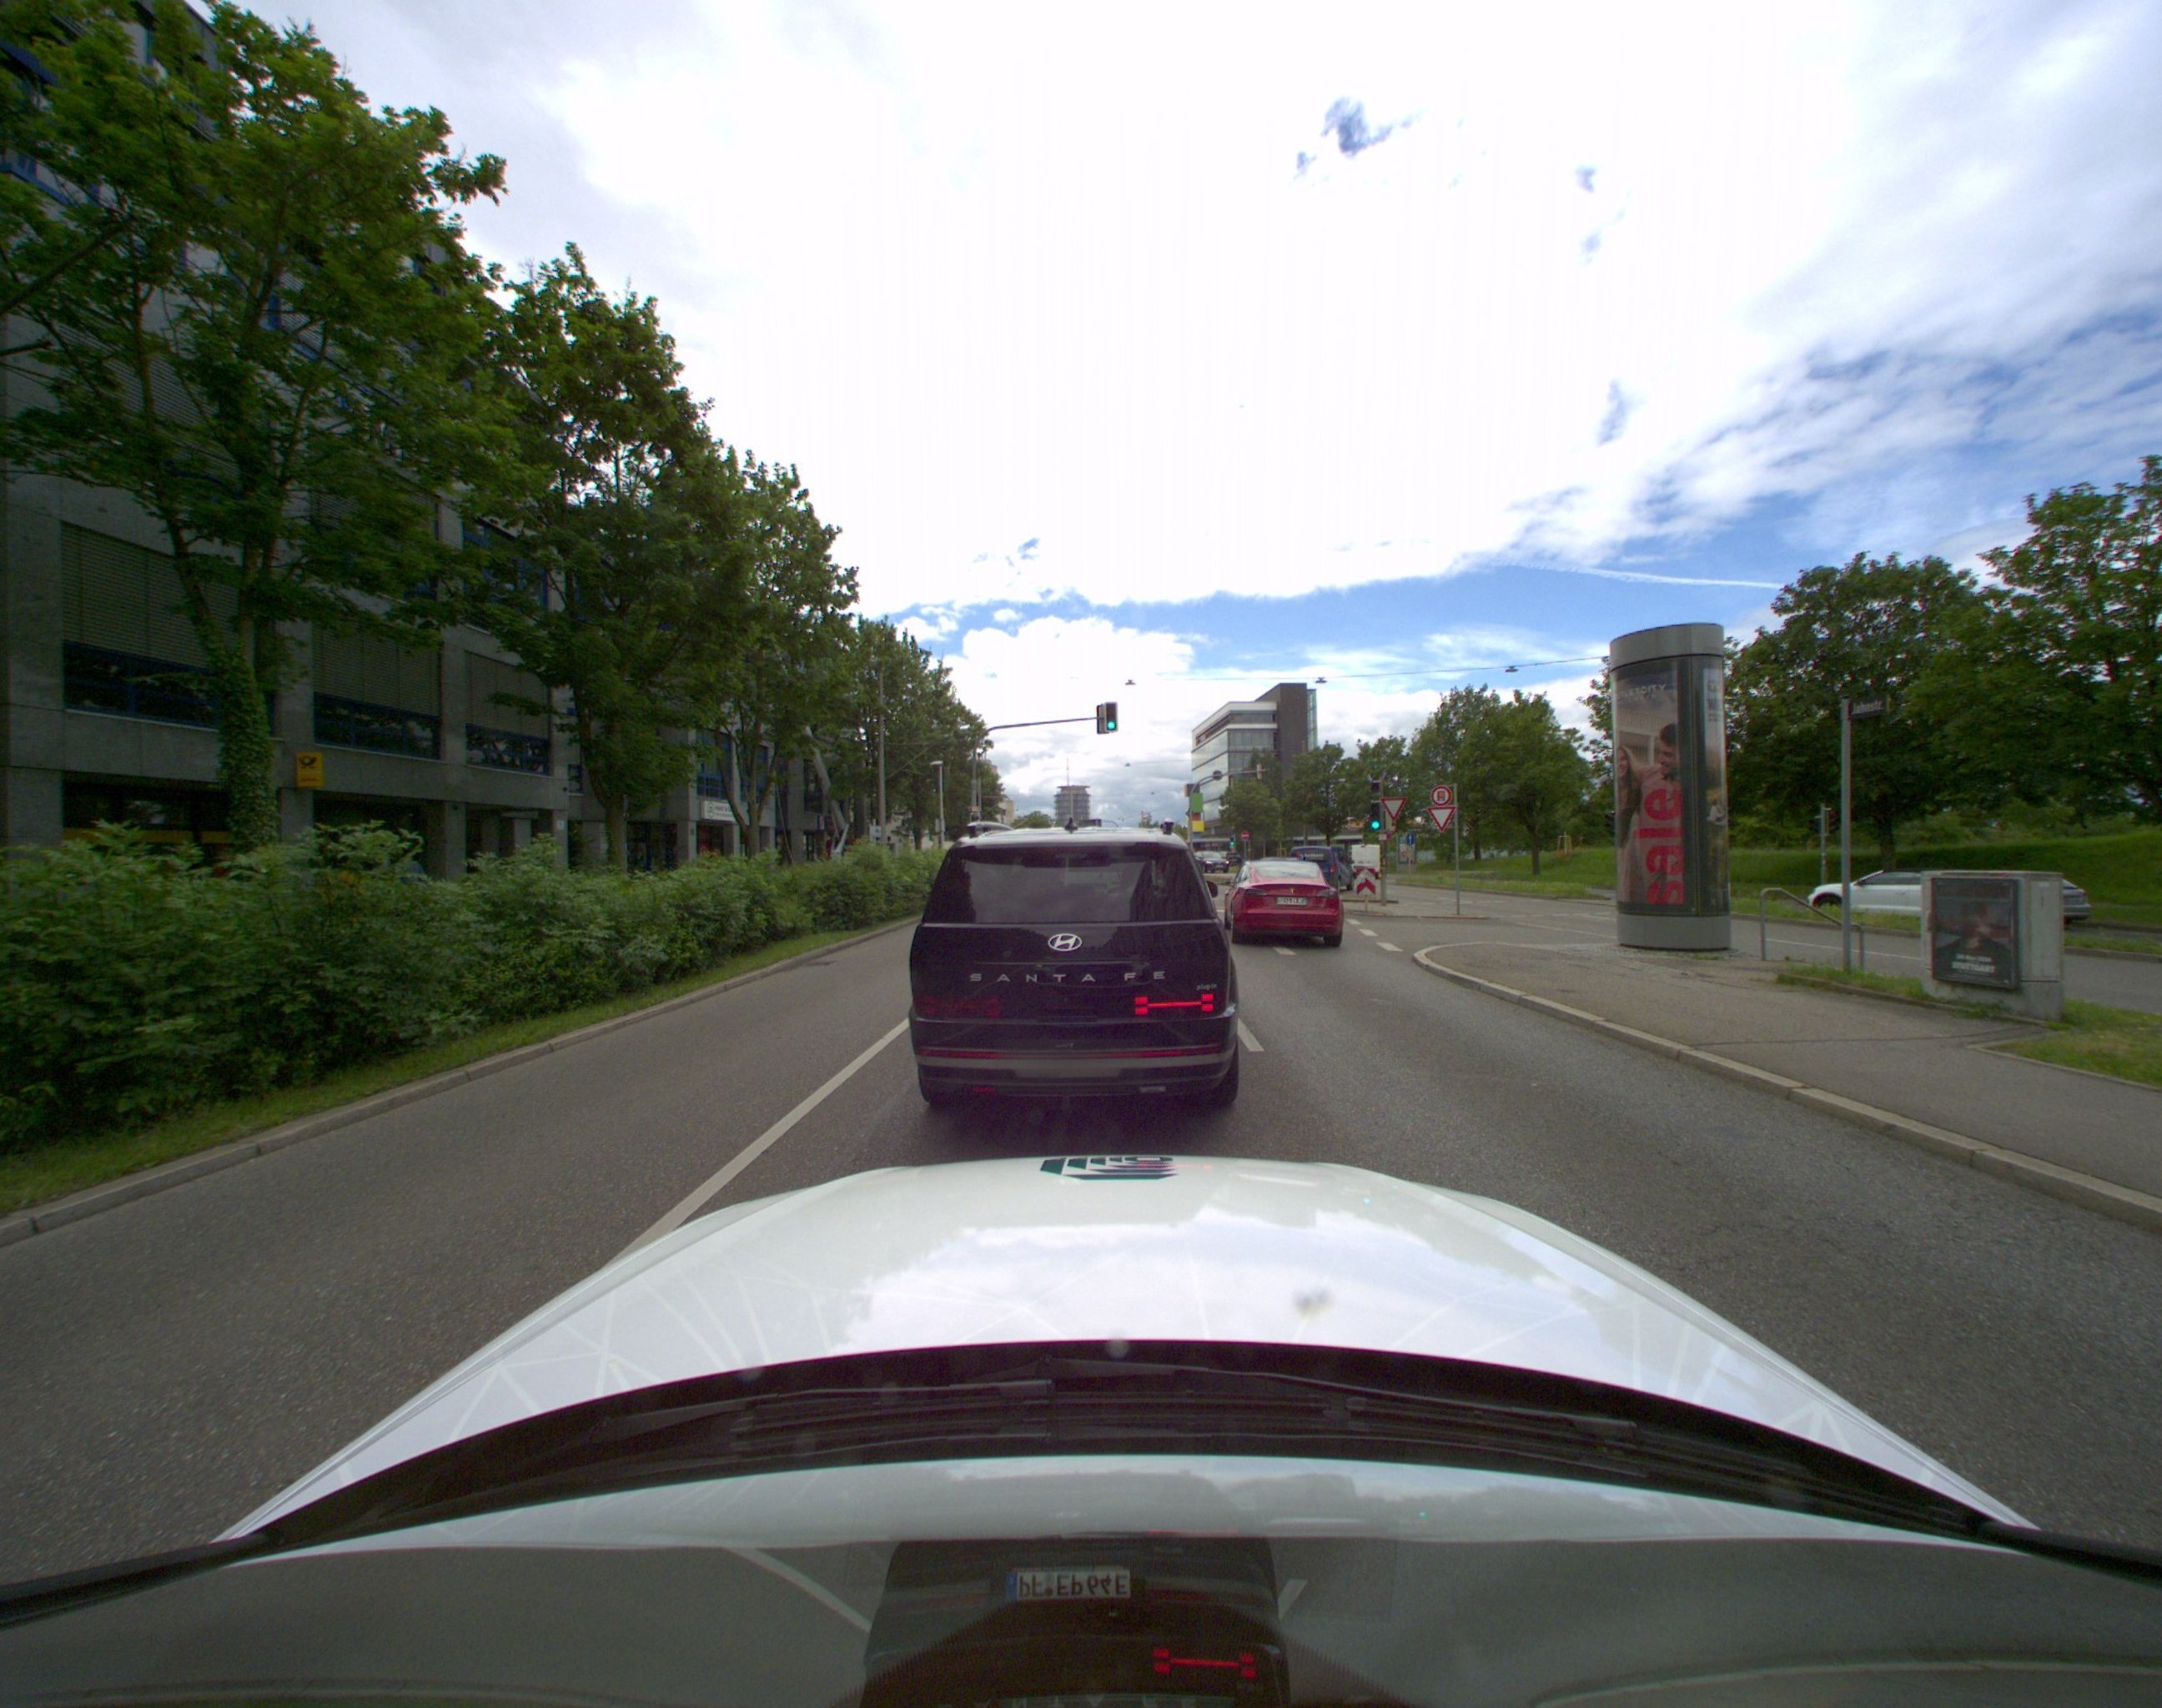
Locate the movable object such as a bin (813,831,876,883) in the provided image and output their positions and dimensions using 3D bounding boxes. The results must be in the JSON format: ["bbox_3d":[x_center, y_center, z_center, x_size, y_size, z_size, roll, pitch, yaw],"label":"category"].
[{"bbox_3d":[-11.901,0.140,41.296,1.898,2.531,4.128,0,0,1],"label":"movable object such as a bin"}]

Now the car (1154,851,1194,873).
[{"bbox_3d":[6.673,0.546,58.662,1.782,1.425,4.382,0,1,-9],"label":"car"}]

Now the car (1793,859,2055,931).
[{"bbox_3d":[21.649,0.965,21.223,1.850,1.529,4.472,0,1,-11],"label":"car"}]

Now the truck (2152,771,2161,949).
[{"bbox_3d":[26.223,0.158,13.863,2.821,3.925,9.420,0,0,-12],"label":"truck"}]

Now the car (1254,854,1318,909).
[{"bbox_3d":[6.110,0.749,24.334,1.732,1.481,3.732,0,0,14],"label":"car"}]

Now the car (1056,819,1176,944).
[{"bbox_3d":[0.803,0.426,15.280,1.892,1.969,4.644,0,0,6],"label":"car"}]

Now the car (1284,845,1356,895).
[{"bbox_3d":[9.713,0.594,32.840,1.884,1.859,4.738,0,0,28],"label":"car"}]

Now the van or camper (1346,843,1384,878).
[{"bbox_3d":[16.383,0.312,47.056,1.977,1.917,4.430,0,1,18],"label":"van or camper"}]

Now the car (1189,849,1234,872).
[{"bbox_3d":[9.544,0.457,59.903,1.889,1.564,4.380,0,1,-11],"label":"car"}]

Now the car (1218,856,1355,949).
[{"bbox_3d":[3.622,0.773,15.130,1.863,1.418,4.450,0,0,6],"label":"car"}]

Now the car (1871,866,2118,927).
[{"bbox_3d":[25.011,1.093,22.544,1.984,1.442,4.143,0,0,-11],"label":"car"}]

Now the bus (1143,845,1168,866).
[{"bbox_3d":[12.114,0.329,133.150,2.958,3.116,9.238,-2,-1,-1],"label":"bus"}]

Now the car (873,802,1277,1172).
[{"bbox_3d":[0.042,0.620,6.072,1.895,1.731,4.448,0,0,2],"label":"car"}]

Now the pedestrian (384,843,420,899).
[{"bbox_3d":[-16.401,0.406,19.683,0.364,1.334,0.558,2,0,-3],"label":"pedestrian"}]
